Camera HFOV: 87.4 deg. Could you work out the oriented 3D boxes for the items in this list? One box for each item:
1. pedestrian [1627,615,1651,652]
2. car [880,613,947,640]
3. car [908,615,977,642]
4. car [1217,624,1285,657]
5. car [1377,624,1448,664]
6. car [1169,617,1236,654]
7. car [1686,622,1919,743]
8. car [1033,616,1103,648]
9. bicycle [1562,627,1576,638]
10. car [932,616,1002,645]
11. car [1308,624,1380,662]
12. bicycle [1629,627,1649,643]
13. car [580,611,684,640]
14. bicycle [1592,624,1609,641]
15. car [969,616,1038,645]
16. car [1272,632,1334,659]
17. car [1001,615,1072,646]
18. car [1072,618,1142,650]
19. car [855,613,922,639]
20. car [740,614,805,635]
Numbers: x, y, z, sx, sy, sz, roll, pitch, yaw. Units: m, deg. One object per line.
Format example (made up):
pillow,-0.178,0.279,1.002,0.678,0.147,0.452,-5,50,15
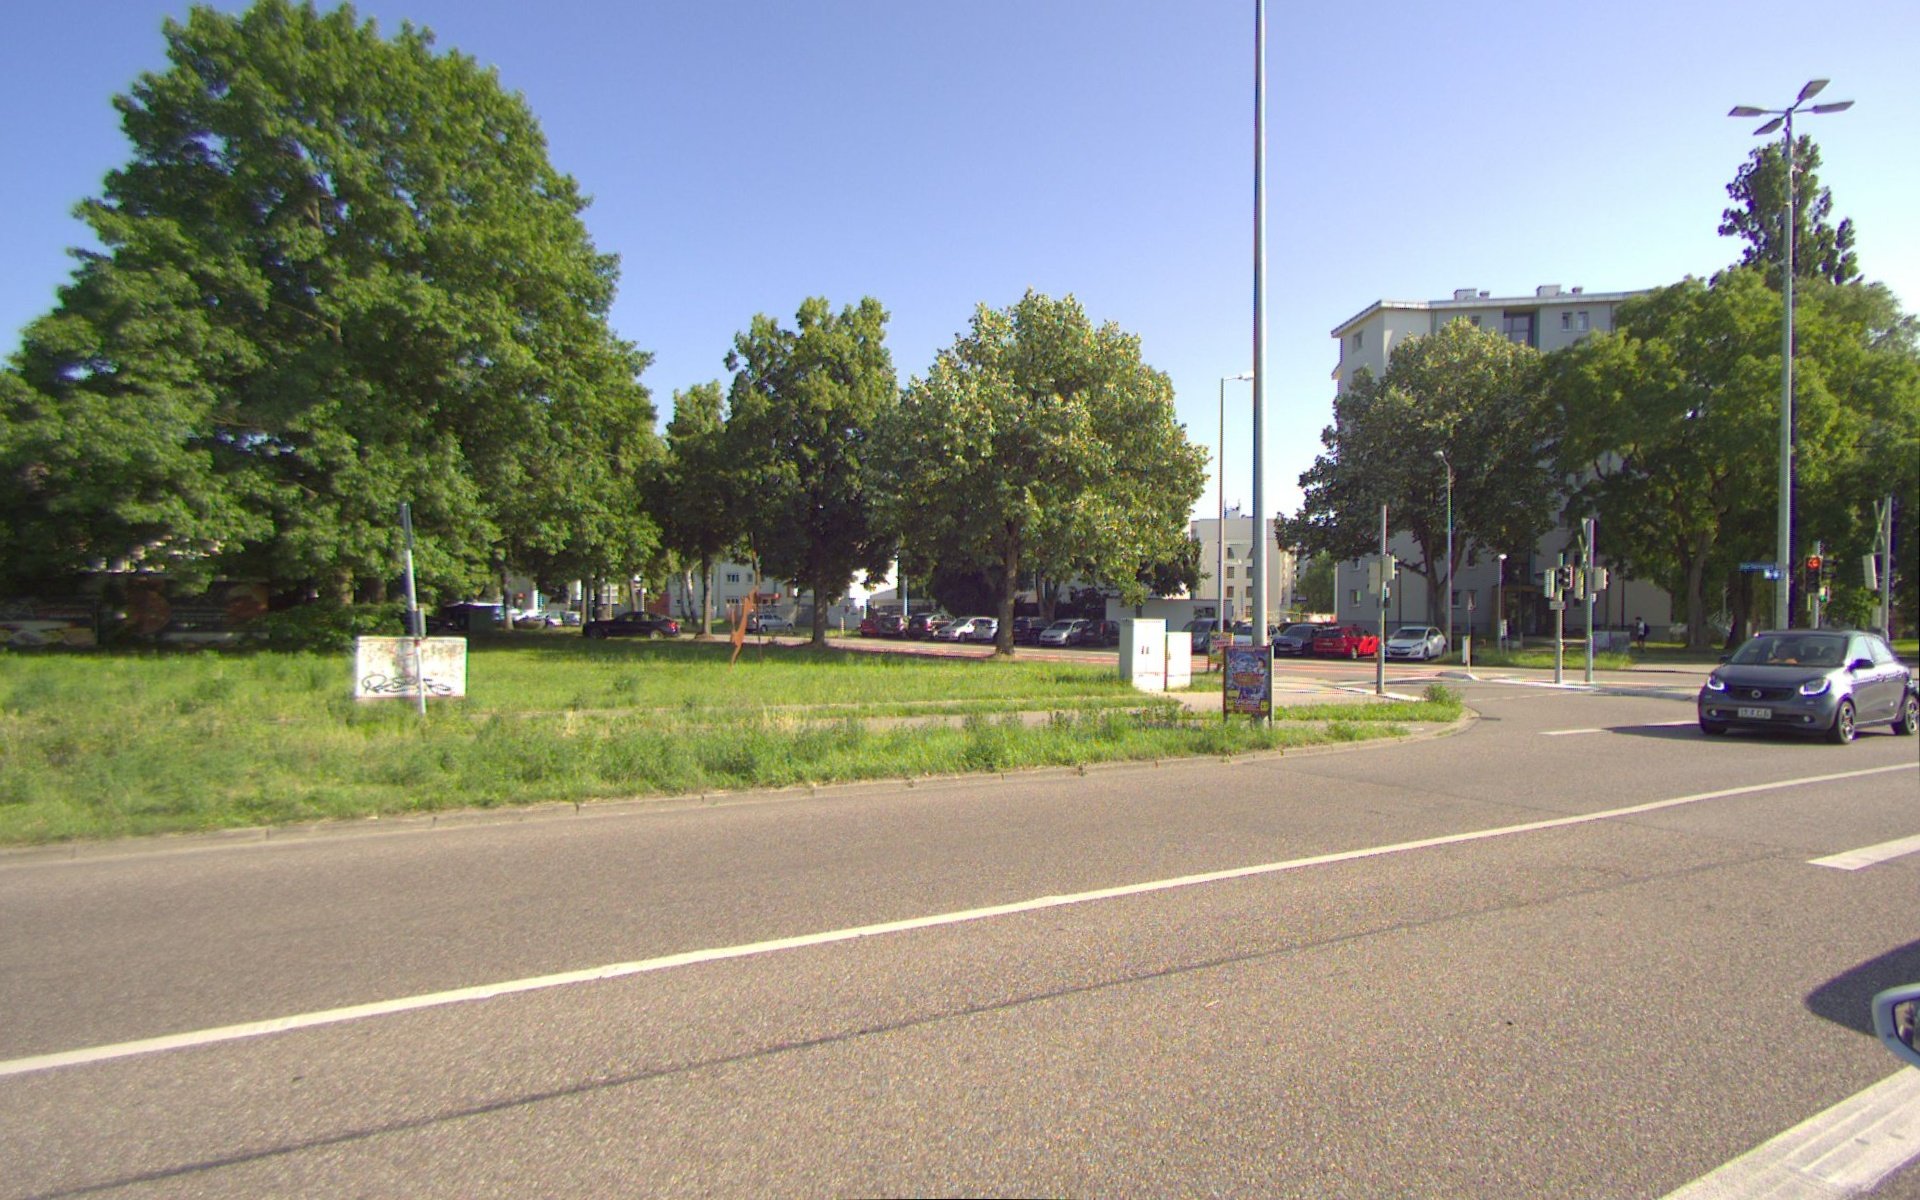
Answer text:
pedestrian,31.915,1.555,47.230,0.693,1.736,0.623,1,0,-18
car,-3.042,1.748,66.877,1.758,1.497,4.791,0,2,39
car,-1.062,1.806,64.625,1.758,1.497,4.791,0,2,39
car,14.702,2.013,50.562,1.759,1.541,3.979,0,-1,41
car,20.419,1.952,45.277,1.760,1.459,3.977,0,2,43
car,12.679,1.841,52.400,1.759,1.835,3.979,0,-1,41
car,12.509,1.144,14.777,3.633,1.581,1.625,1,-2,-30
car,6.268,1.830,57.806,1.758,1.497,4.692,0,3,39
bicycle,39.365,2.096,64.937,0.574,0.718,2.236,1,0,26
car,0.511,1.856,62.700,1.758,1.497,4.791,0,2,39
car,18.165,1.972,47.411,1.761,1.435,3.975,0,3,44
bicycle,42.676,2.203,63.164,0.658,0.932,2.404,1,0,26
car,-16.244,1.264,49.869,4.682,1.338,1.524,1,-1,-8
bicycle,40.759,2.080,63.899,0.601,1.080,1.916,1,-2,24
car,2.708,1.811,61.458,1.758,1.497,4.755,0,2,39
car,16.637,2.198,48.676,1.445,1.209,3.765,0,-1,43
car,4.609,1.790,59.882,1.758,1.497,4.791,0,3,39
car,8.425,1.886,57.153,1.758,1.497,4.791,0,2,39
car,-4.806,1.741,68.345,1.758,1.497,4.791,0,2,39
car,-14.198,1.852,76.316,1.760,1.497,4.786,0,-1,43
